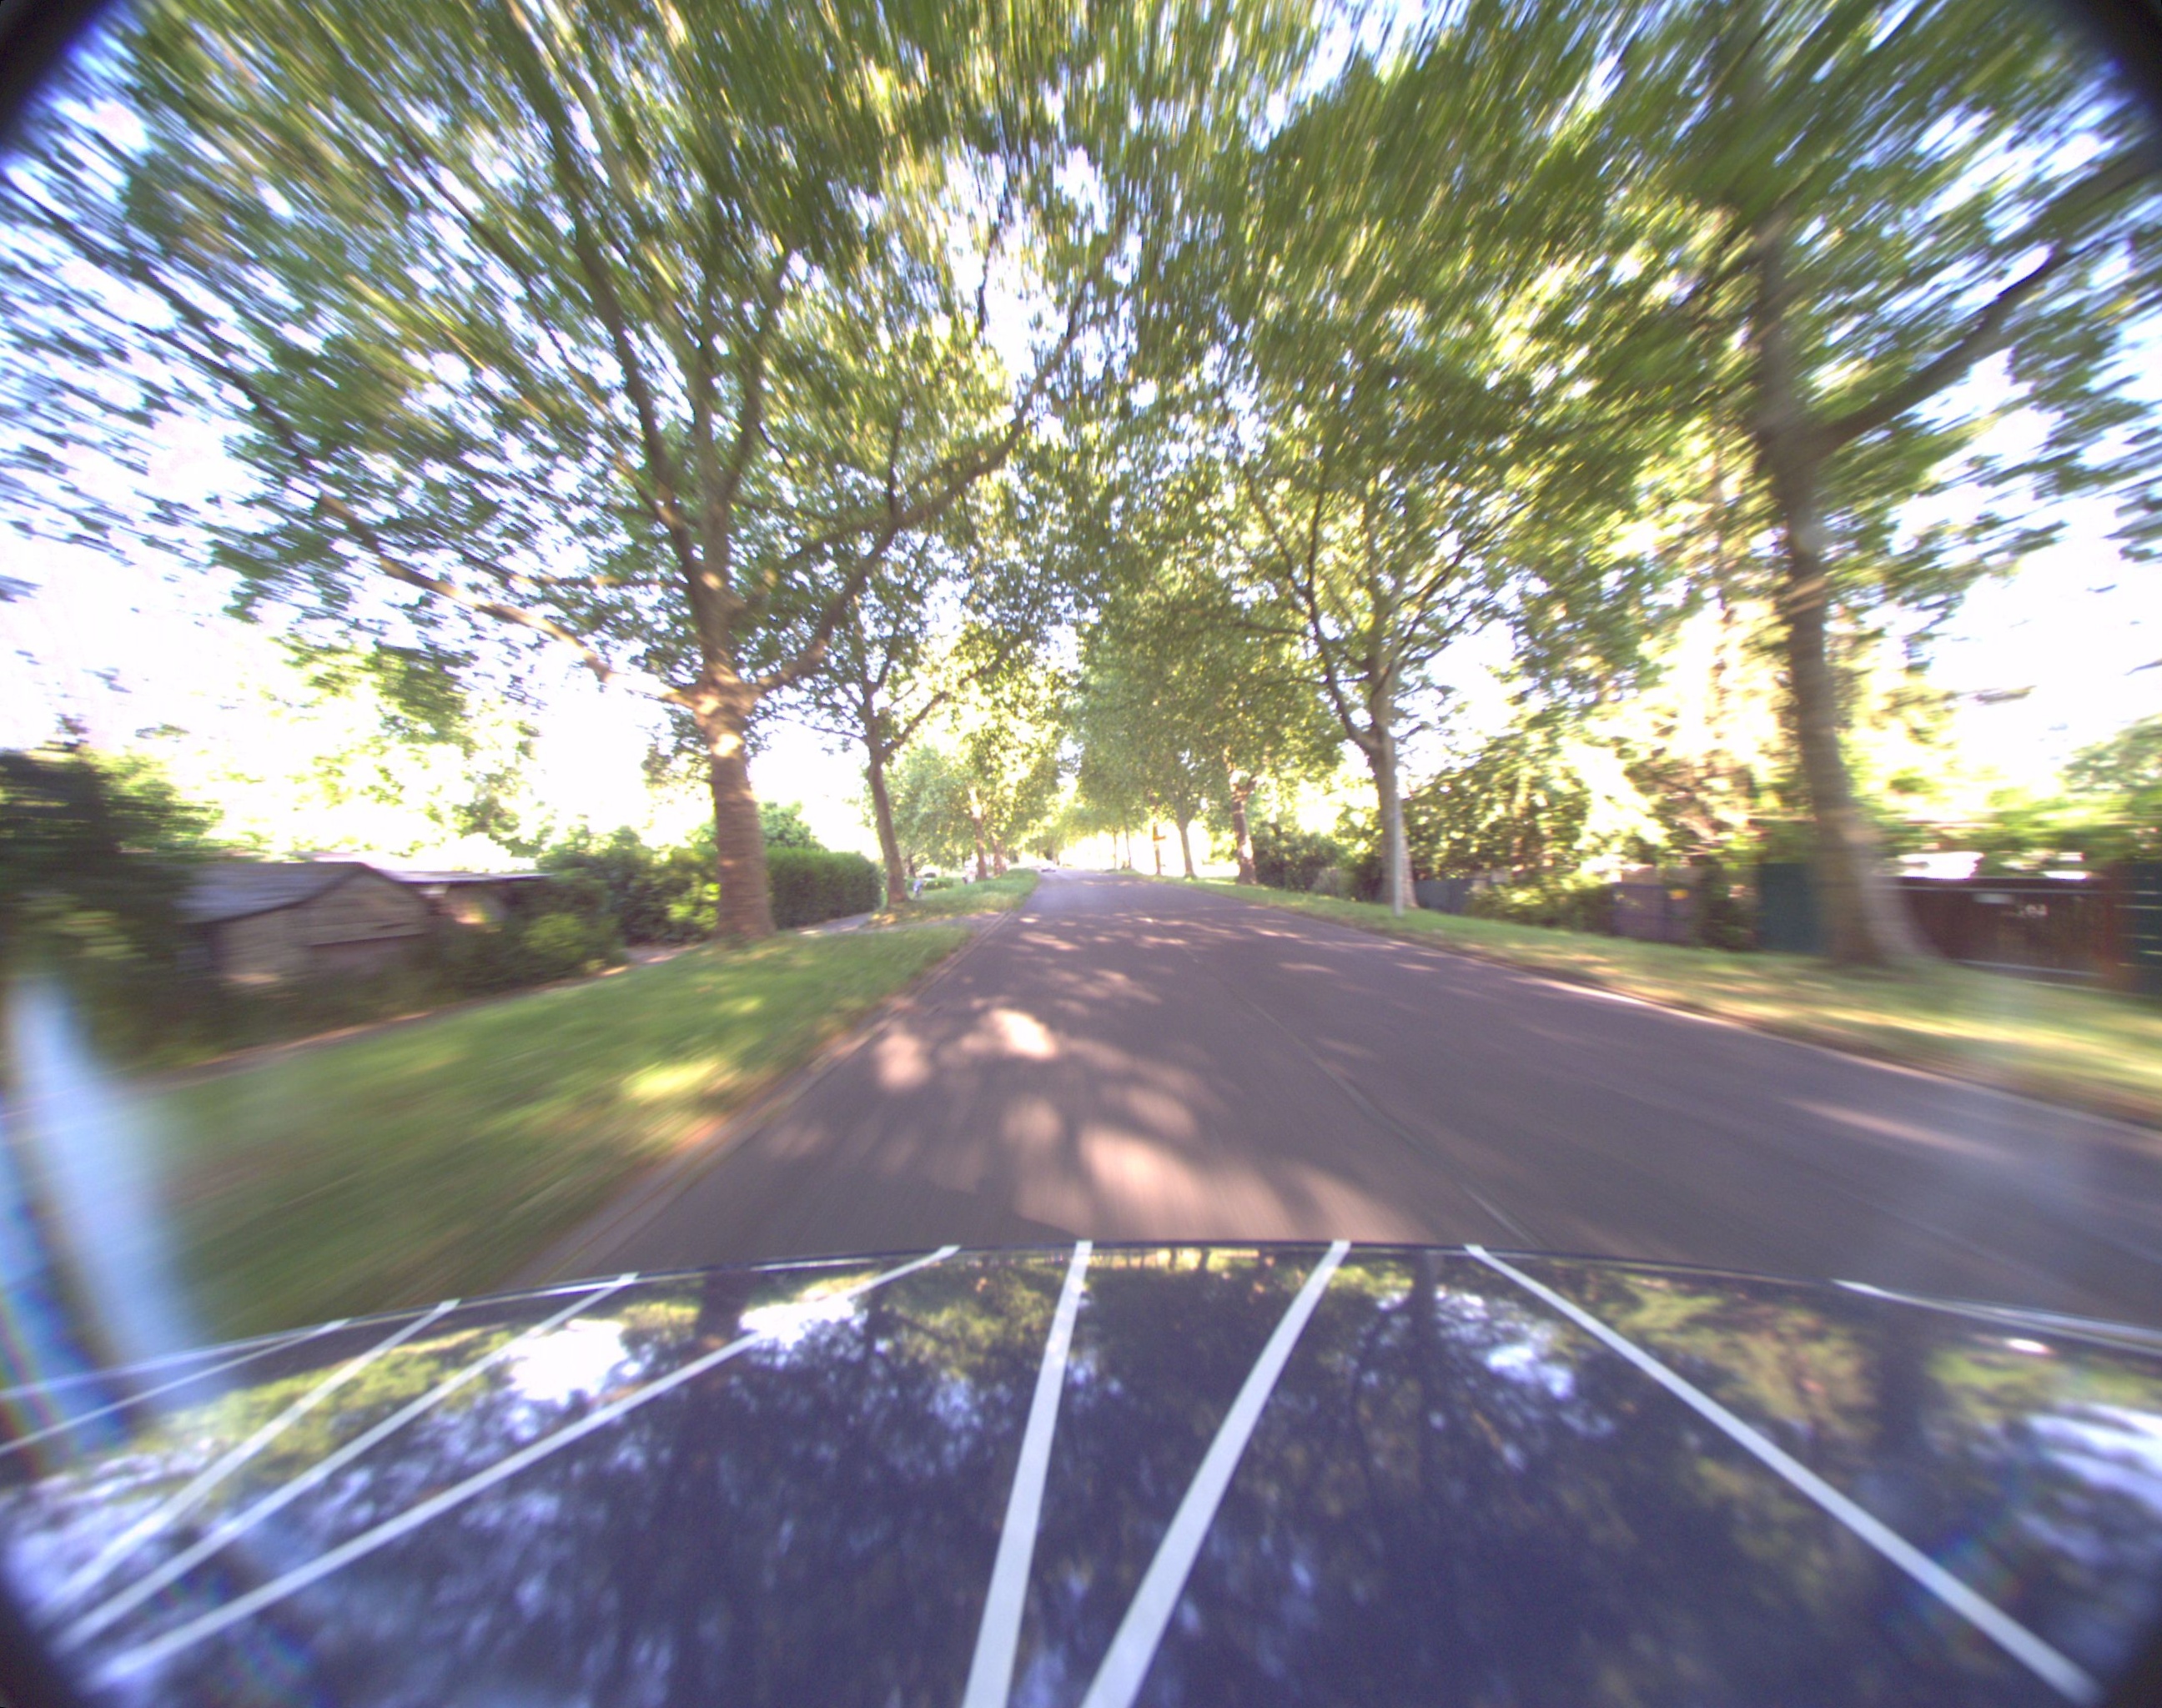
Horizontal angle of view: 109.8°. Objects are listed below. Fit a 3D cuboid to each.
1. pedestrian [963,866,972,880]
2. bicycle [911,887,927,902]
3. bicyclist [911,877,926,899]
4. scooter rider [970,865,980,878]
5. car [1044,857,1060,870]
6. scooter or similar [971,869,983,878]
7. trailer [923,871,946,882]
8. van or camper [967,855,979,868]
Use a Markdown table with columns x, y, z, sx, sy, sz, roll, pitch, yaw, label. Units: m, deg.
| x | y | z | sx | sy | sz | roll | pitch | yaw | label |
| --- | --- | --- | --- | --- | --- | --- | --- | --- | --- |
| -13.123 | 2.249 | 87.861 | 0.844 | 1.567 | 0.785 | -2 | 1 | 9 | pedestrian |
| -10.355 | 2.564 | 48.722 | 0.554 | 0.812 | 1.888 | -2 | 1 | 1 | bicycle |
| -10.363 | 2.177 | 48.610 | 0.736 | 1.358 | 0.771 | -2 | 1 | 1 | bicyclist |
| -13.336 | 2.238 | 95.943 | 0.782 | 1.567 | 0.846 | -3 | 0 | 38 | scooter rider |
| -3.870 | 1.253 | 101.534 | 1.999 | 1.655 | 3.998 | -2 | 0 | -4 | car |
| -13.176 | 2.444 | 96.117 | 0.340 | 1.128 | 1.602 | -1 | 1 | 39 | scooter or similar |
| -15.740 | 2.452 | 81.590 | 2.123 | 1.046 | 1.200 | -2 | 1 | 0 | trailer |
| -24.467 | 1.635 | 172.188 | 2.388 | 2.783 | 5.680 | -2 | 1 | -8 | van or camper |
